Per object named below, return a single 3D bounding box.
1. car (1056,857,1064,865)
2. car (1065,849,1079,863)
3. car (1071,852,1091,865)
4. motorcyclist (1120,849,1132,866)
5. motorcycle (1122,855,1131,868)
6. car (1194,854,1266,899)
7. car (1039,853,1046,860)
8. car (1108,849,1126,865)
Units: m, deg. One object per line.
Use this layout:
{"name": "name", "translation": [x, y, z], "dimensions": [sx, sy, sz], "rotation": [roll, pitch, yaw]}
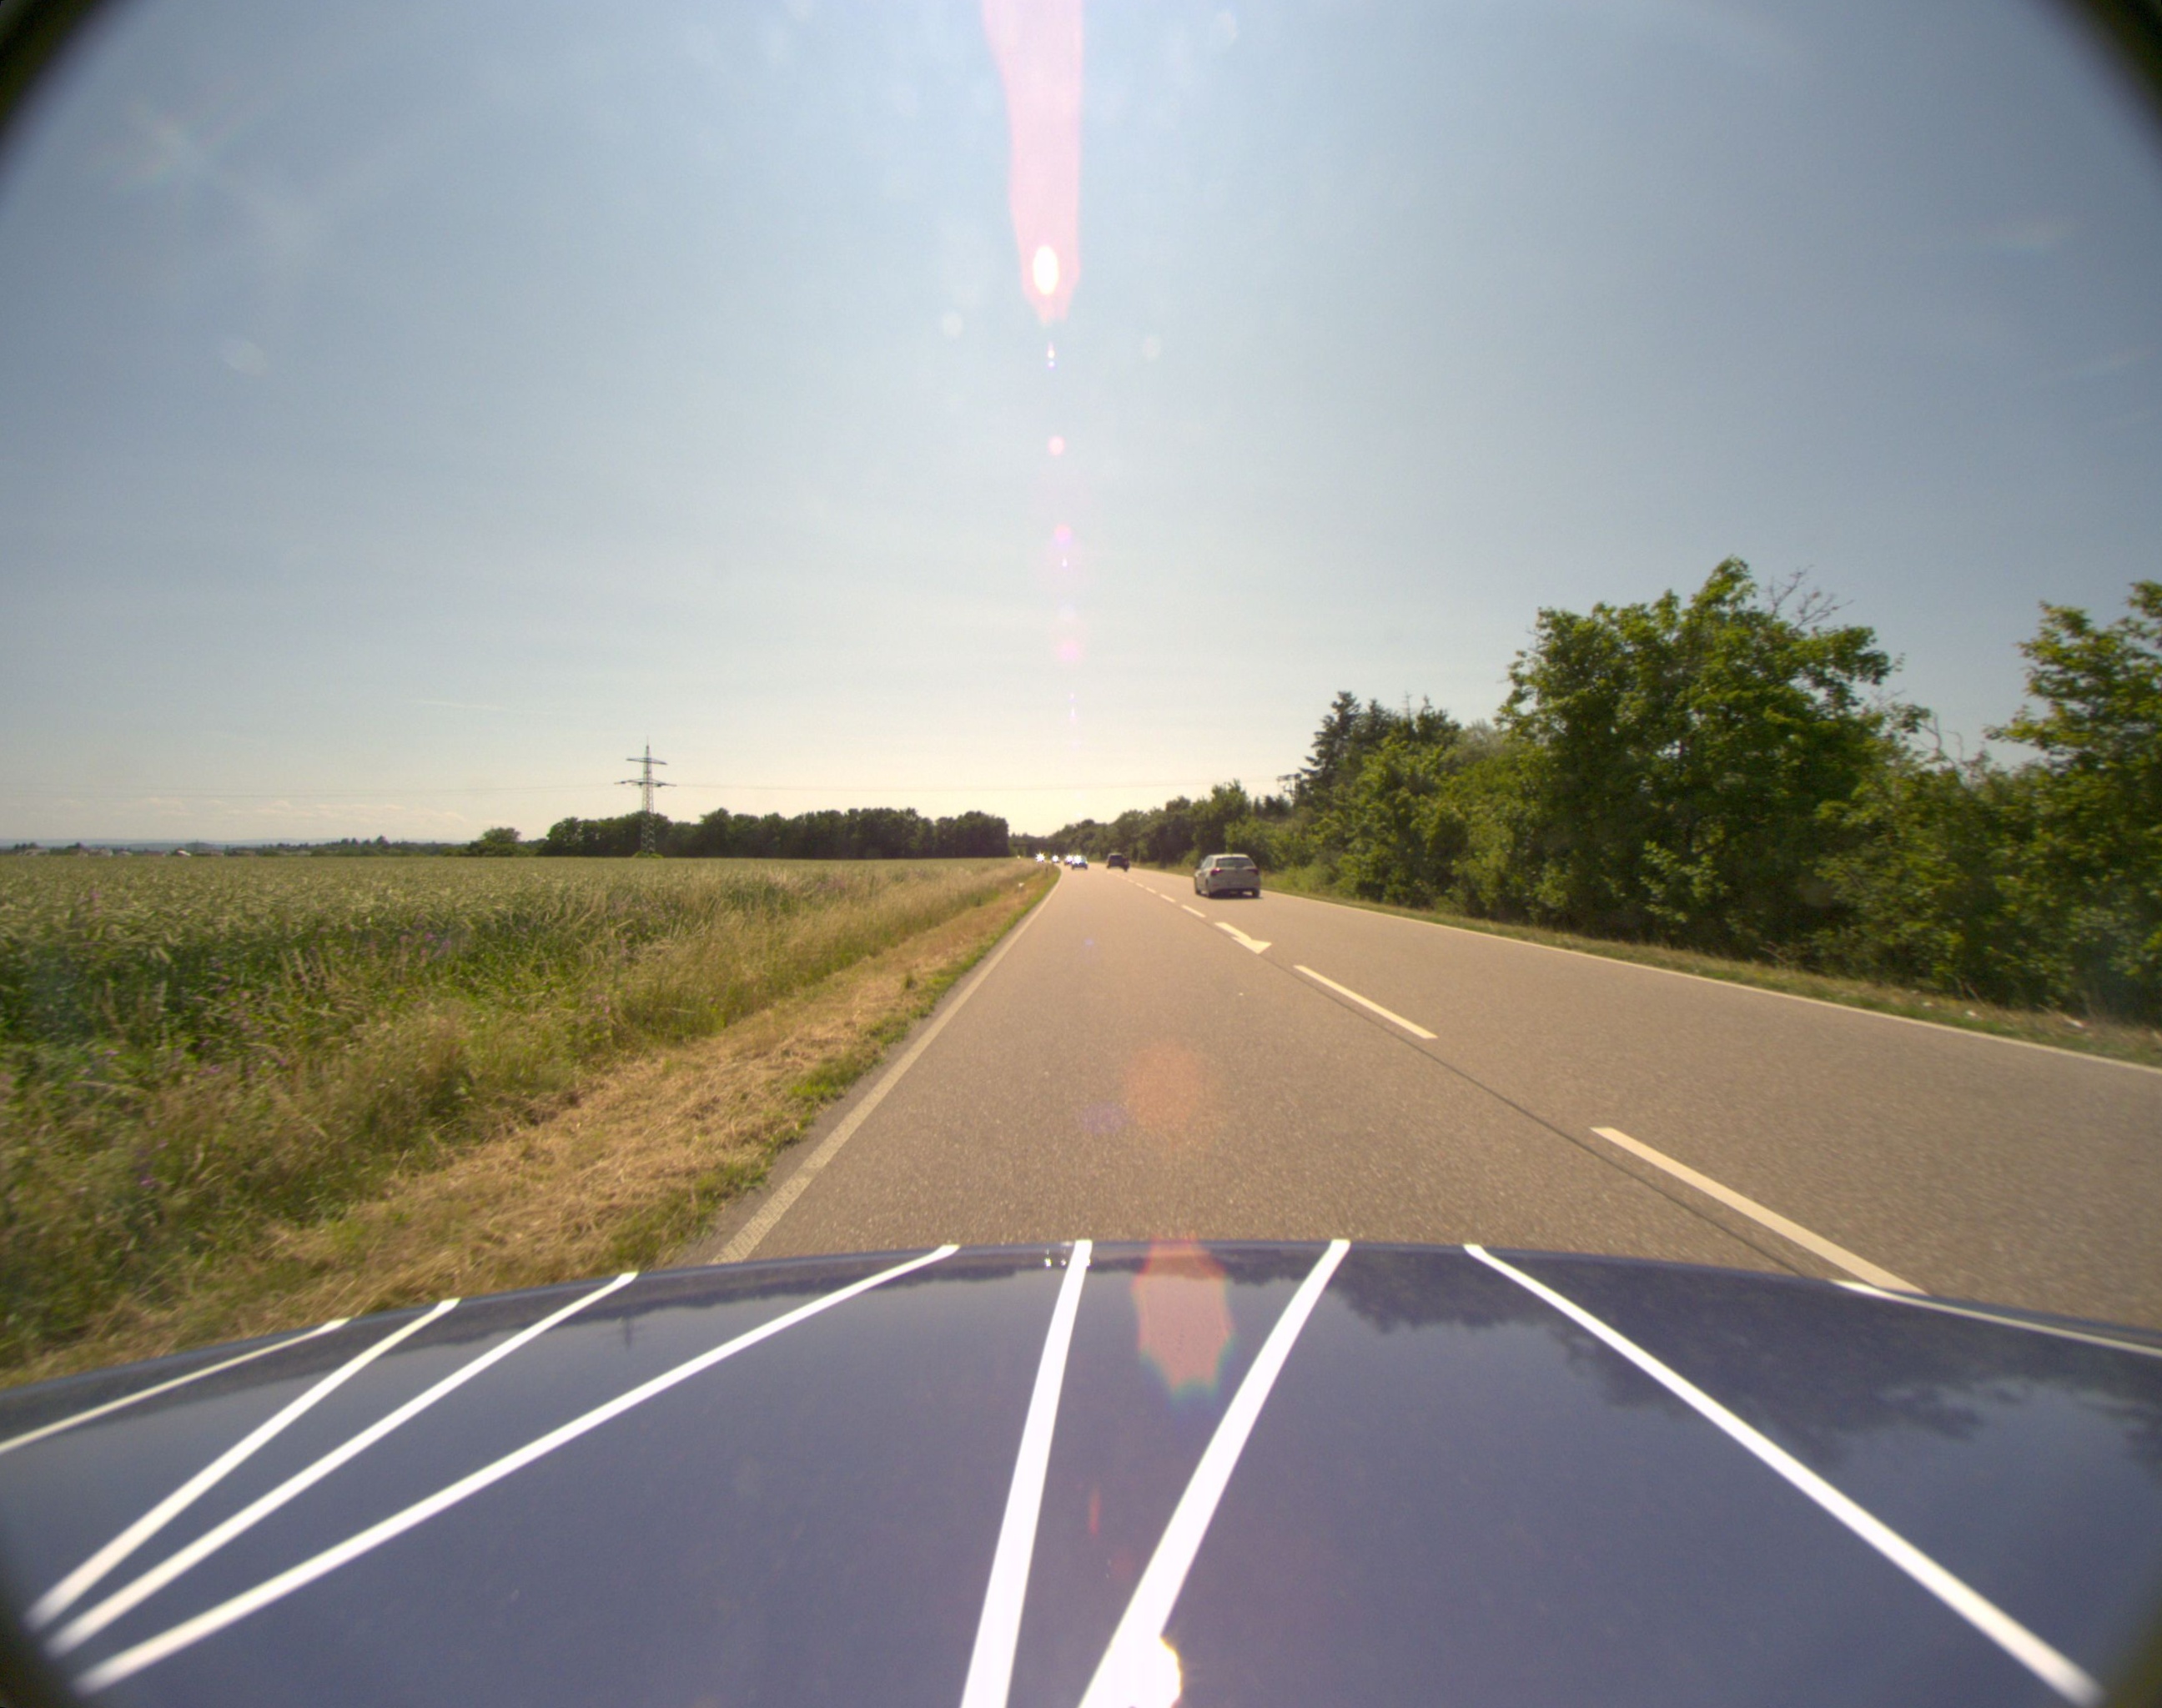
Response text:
{"name": "car", "translation": [-4.591, 1.497, 164.847], "dimensions": [1.554, 1.659, 3.997], "rotation": [-2, 1, -5]}
{"name": "car", "translation": [-1.445, 0.306, 122.492], "dimensions": [1.999, 2.002, 3.999], "rotation": [-3, 0, -2]}
{"name": "car", "translation": [-0.018, 0.483, 85.645], "dimensions": [1.694, 1.431, 3.707], "rotation": [-1, 0, -8]}
{"name": "motorcyclist", "translation": [4.012, 0.339, 67.866], "dimensions": [0.837, 1.466, 1.817], "rotation": [-1, 1, -2]}
{"name": "motorcycle", "translation": [4.045, 0.691, 67.755], "dimensions": [0.618, 1.102, 2.022], "rotation": [-2, 0, -2]}
{"name": "car", "translation": [5.001, 0.714, 25.945], "dimensions": [1.711, 1.373, 3.819], "rotation": [-2, 0, 1]}
{"name": "car", "translation": [-11.484, 0.687, 228.145], "dimensions": [1.999, 2.002, 3.998], "rotation": [1, 0, -5]}
{"name": "car", "translation": [4.101, 0.342, 88.137], "dimensions": [1.823, 1.691, 5.001], "rotation": [-1, 0, 0]}
